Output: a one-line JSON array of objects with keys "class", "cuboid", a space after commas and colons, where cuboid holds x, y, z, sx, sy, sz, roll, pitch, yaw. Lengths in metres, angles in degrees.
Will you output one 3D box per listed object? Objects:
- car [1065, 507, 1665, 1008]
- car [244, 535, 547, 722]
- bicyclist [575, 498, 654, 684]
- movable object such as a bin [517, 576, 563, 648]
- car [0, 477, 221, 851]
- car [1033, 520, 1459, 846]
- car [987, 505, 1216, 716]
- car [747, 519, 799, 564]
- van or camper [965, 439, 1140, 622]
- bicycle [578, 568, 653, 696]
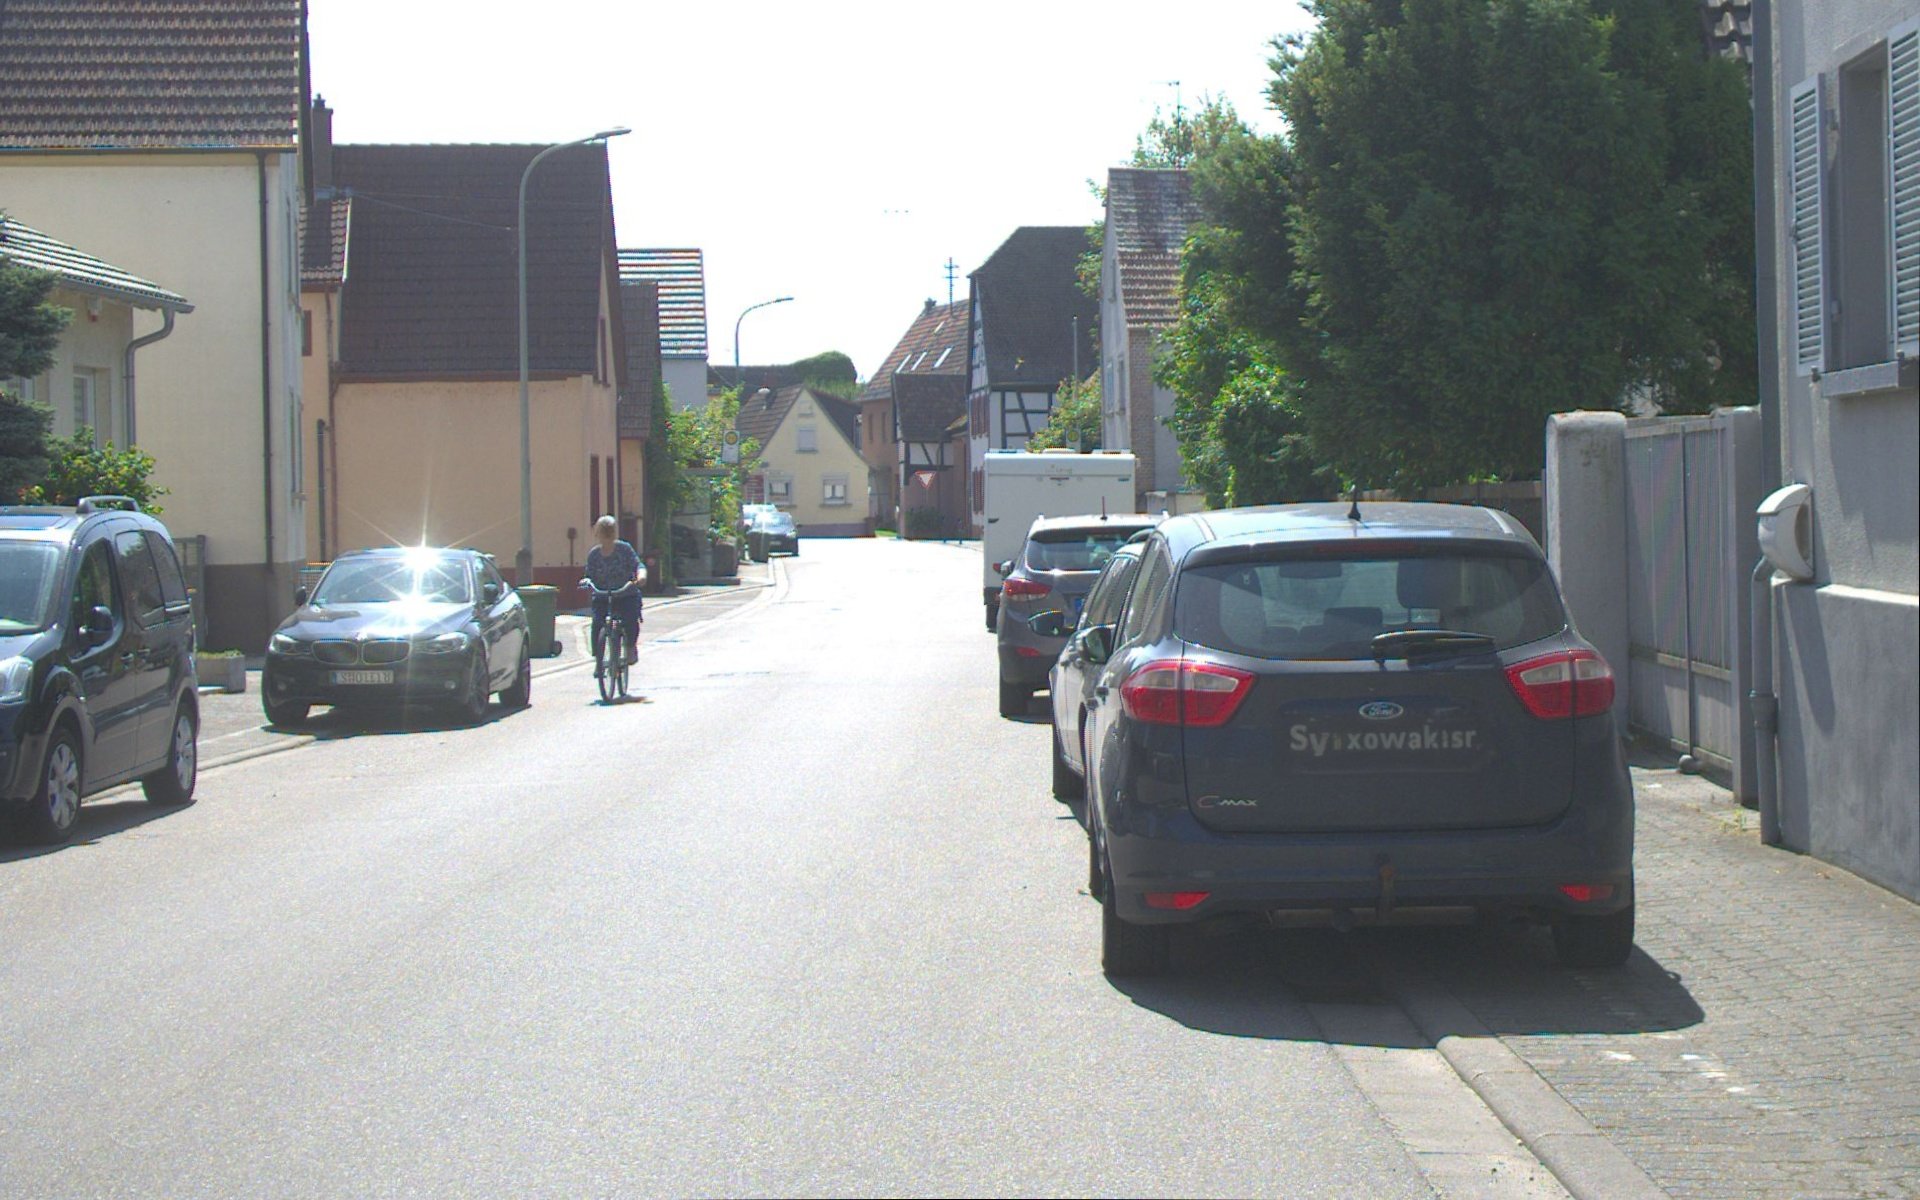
[{"class": "car", "cuboid": [1.349, 0.448, 13.160, 1.797, 1.555, 4.631, -1, 1, 1]}, {"class": "car", "cuboid": [-4.965, 0.191, 30.865, 1.844, 1.521, 4.765, -1, 1, 1]}, {"class": "bicyclist", "cuboid": [-3.329, -0.092, 33.202, 0.703, 1.765, 0.625, -1, 1, -3]}, {"class": "movable object such as a bin", "cuboid": [-5.608, 0.152, 45.920, 0.539, 0.946, 0.553, 0, 1, 0]}, {"class": "car", "cuboid": [-5.537, 0.285, 19.027, 1.834, 1.831, 4.354, -2, 1, 1]}, {"class": "car", "cuboid": [1.398, 0.339, 18.470, 1.819, 1.503, 4.582, -1, 1, -1]}, {"class": "car", "cuboid": [1.264, 0.028, 29.556, 1.794, 1.625, 4.360, -1, 2, 4]}, {"class": "car", "cuboid": [-6.291, -1.982, 116.178, 1.511, 1.431, 3.511, -2, 1, 0]}, {"class": "van or camper", "cuboid": [1.387, -1.081, 53.541, 2.521, 2.687, 4.556, -1, 1, 0]}, {"class": "bicycle", "cuboid": [-3.300, 0.289, 33.040, 0.589, 1.144, 1.949, -2, 1, -3]}]
